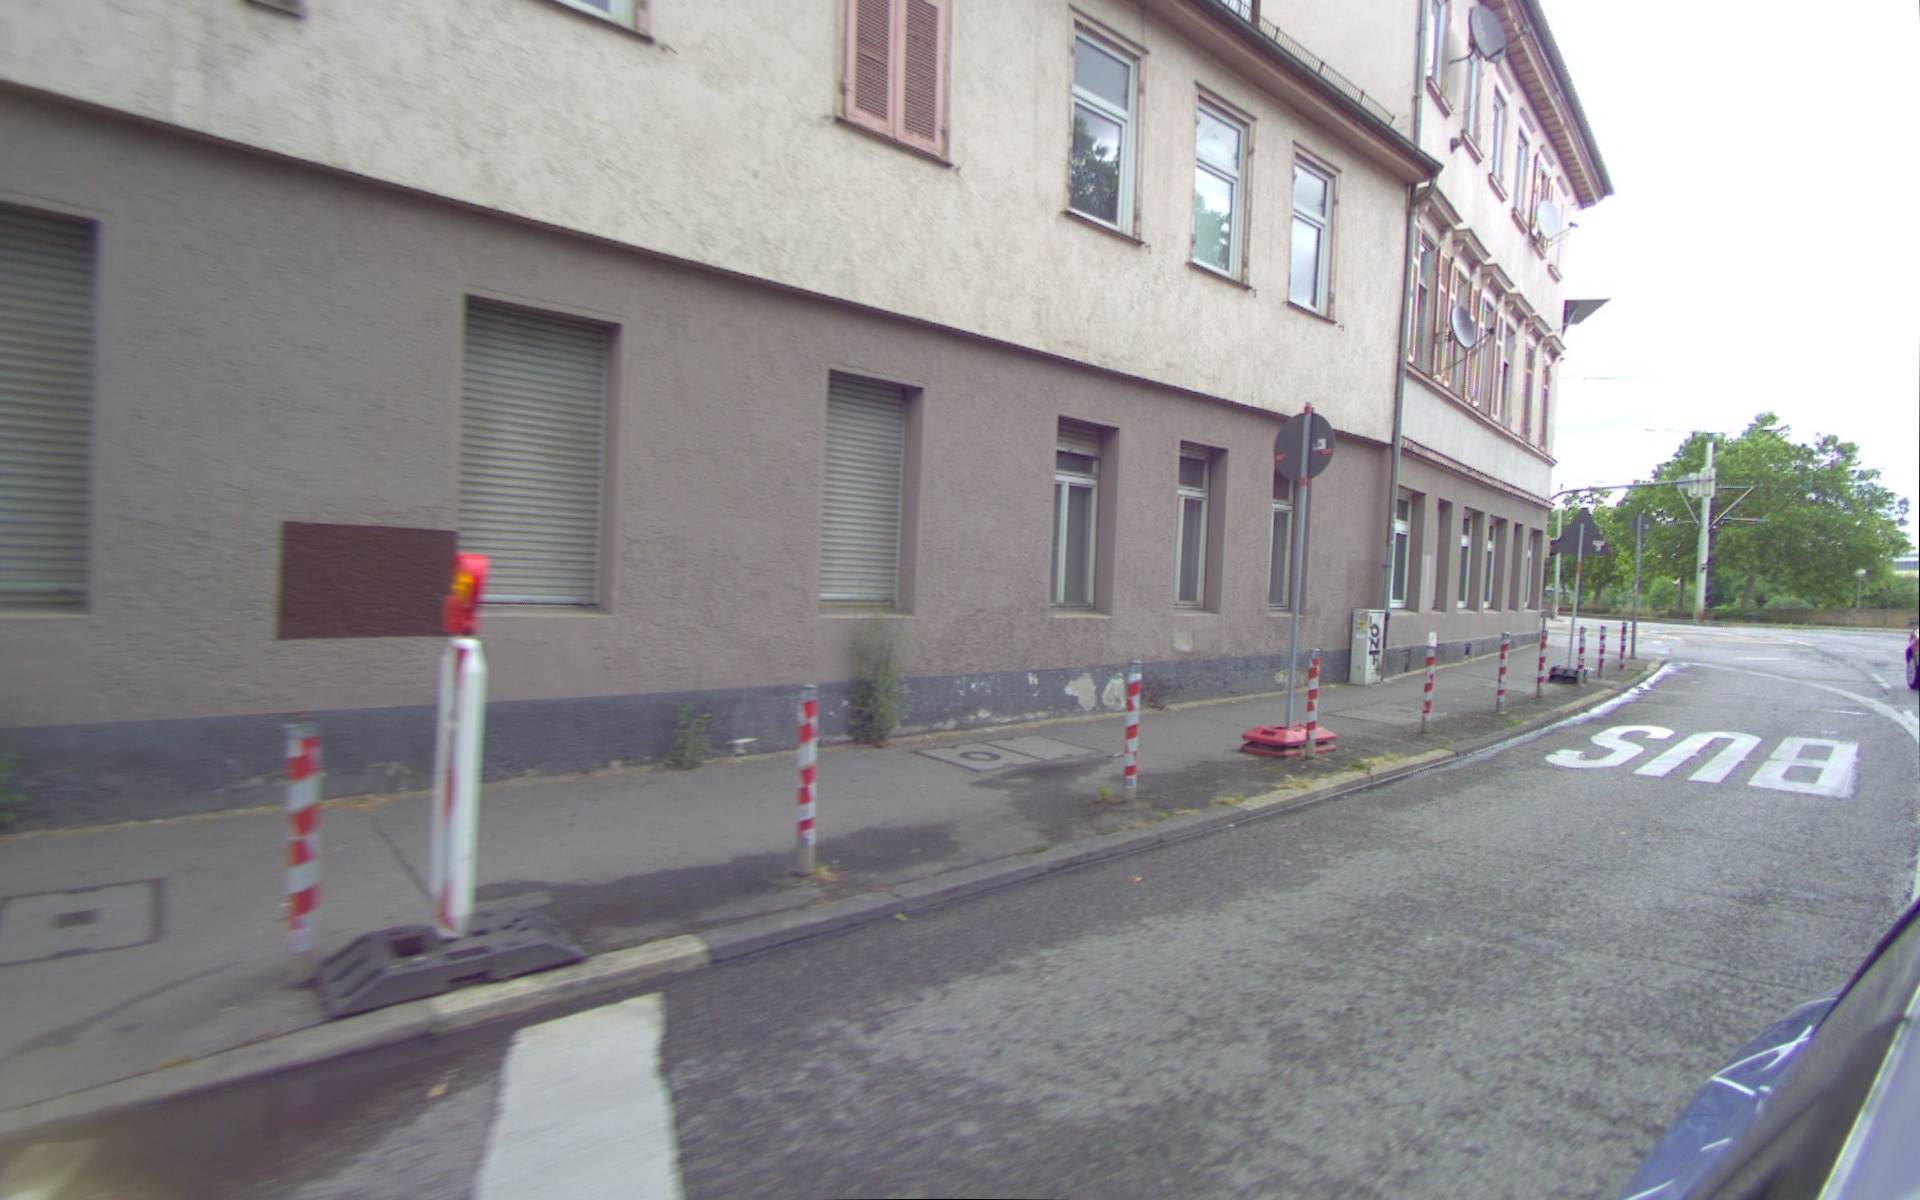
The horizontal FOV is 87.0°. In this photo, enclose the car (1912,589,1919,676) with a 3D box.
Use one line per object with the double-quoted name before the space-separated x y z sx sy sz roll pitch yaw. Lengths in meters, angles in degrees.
"car" 15.622 0.563 14.778 1.839 1.440 4.122 -2 0 35
